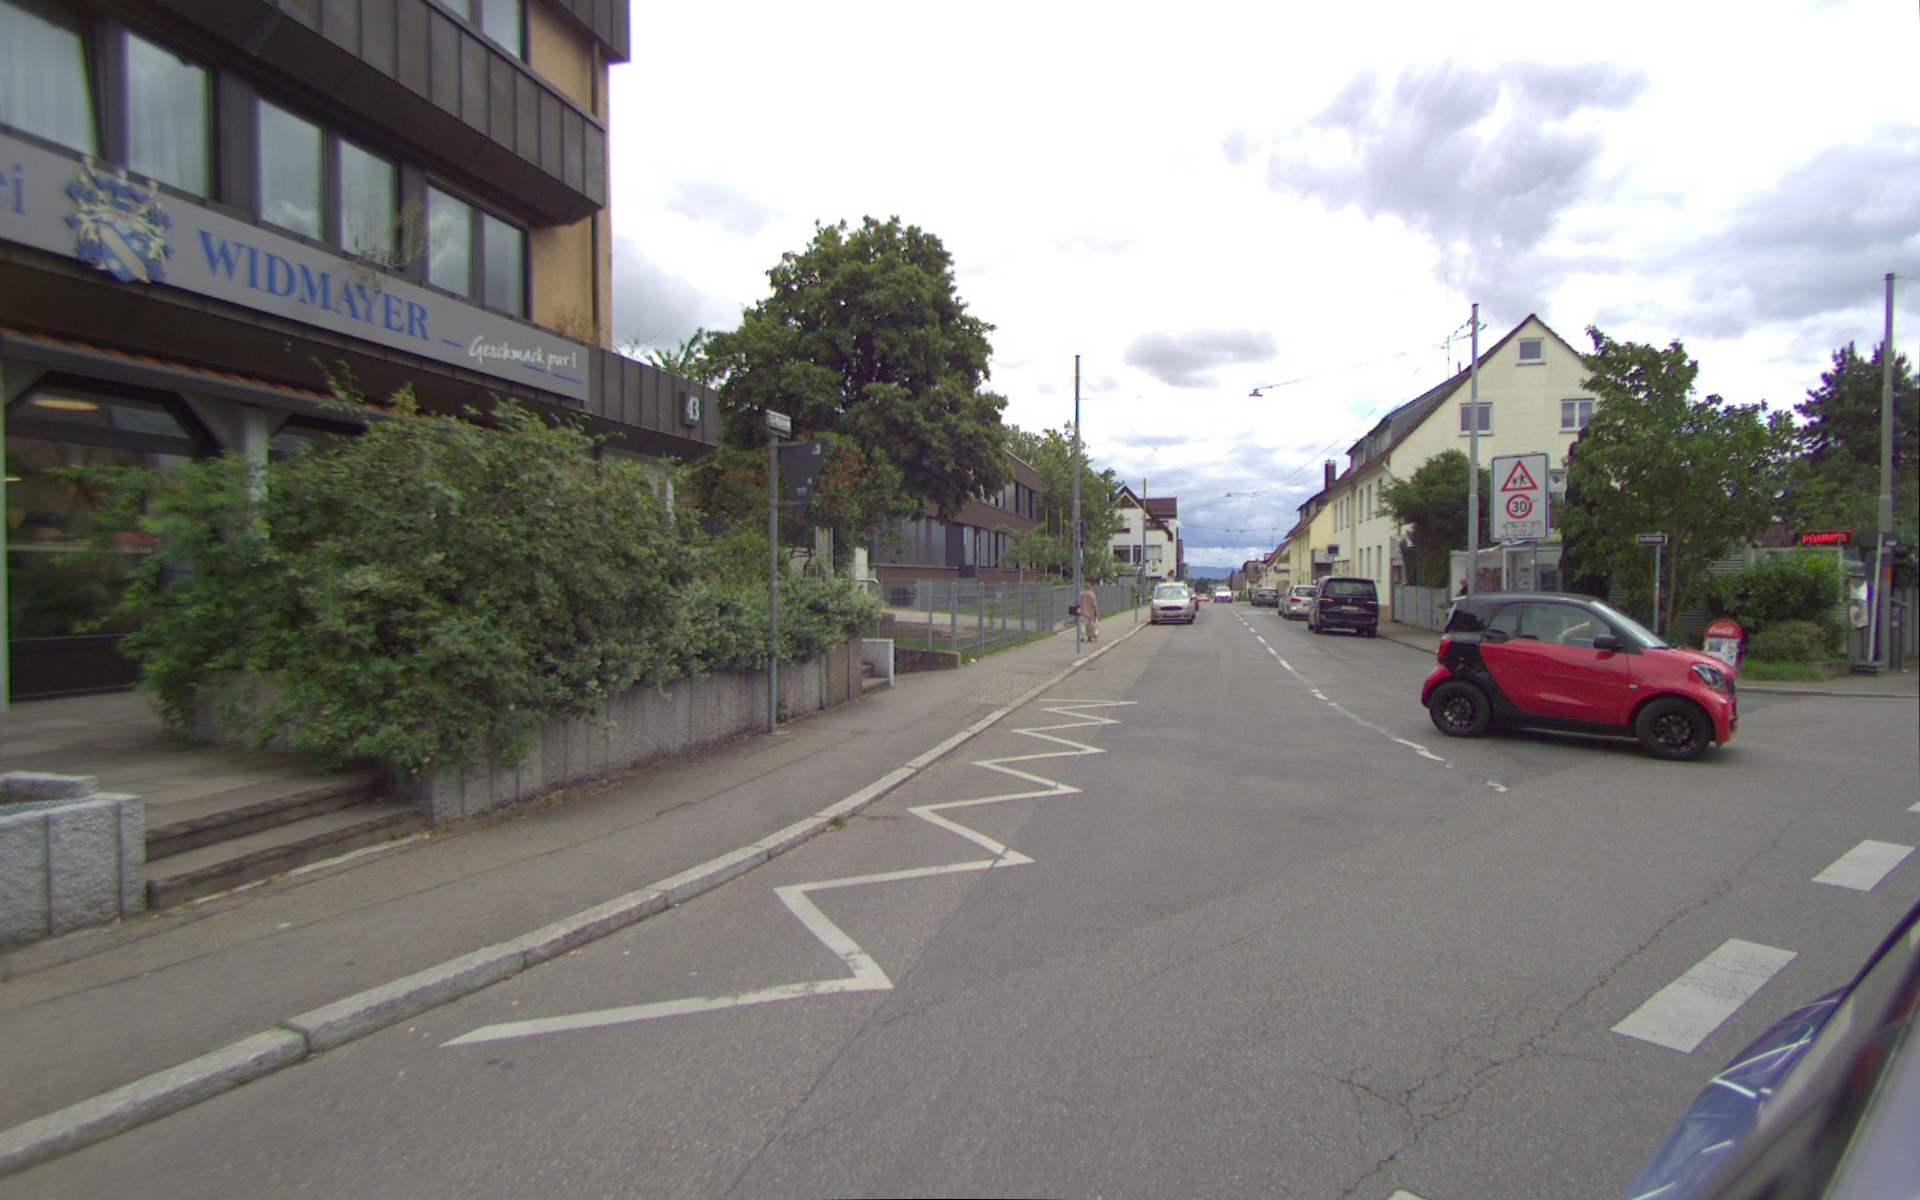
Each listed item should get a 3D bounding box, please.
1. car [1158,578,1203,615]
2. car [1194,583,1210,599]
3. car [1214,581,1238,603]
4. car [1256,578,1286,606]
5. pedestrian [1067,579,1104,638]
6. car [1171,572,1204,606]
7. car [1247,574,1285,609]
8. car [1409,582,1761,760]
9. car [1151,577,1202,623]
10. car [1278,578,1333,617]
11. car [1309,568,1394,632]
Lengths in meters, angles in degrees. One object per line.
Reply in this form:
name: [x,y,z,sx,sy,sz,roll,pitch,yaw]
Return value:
car: [10.592,-0.192,48.747,1.969,1.625,4.377,2,1,12]
car: [32.480,-1.180,136.006,1.969,2.039,4.377,2,1,12]
car: [25.866,-0.834,98.412,1.969,2.039,4.377,2,1,12]
car: [24.068,-0.658,78.444,1.971,2.039,4.375,2,1,14]
pedestrian: [3.393,0.221,27.322,0.887,1.555,0.955,1,0,15]
car: [14.527,-0.732,64.779,1.969,2.039,4.377,2,1,12]
car: [18.814,-0.520,62.385,1.970,2.039,4.375,2,1,14]
car: [6.542,0.612,10.664,2.926,1.539,1.794,2,1,40]
car: [9.054,-0.052,42.356,1.969,1.763,4.377,2,1,12]
car: [16.156,-0.151,47.509,1.970,1.694,4.375,2,1,14]
car: [12.813,-0.038,33.373,1.970,1.901,4.375,2,1,14]
